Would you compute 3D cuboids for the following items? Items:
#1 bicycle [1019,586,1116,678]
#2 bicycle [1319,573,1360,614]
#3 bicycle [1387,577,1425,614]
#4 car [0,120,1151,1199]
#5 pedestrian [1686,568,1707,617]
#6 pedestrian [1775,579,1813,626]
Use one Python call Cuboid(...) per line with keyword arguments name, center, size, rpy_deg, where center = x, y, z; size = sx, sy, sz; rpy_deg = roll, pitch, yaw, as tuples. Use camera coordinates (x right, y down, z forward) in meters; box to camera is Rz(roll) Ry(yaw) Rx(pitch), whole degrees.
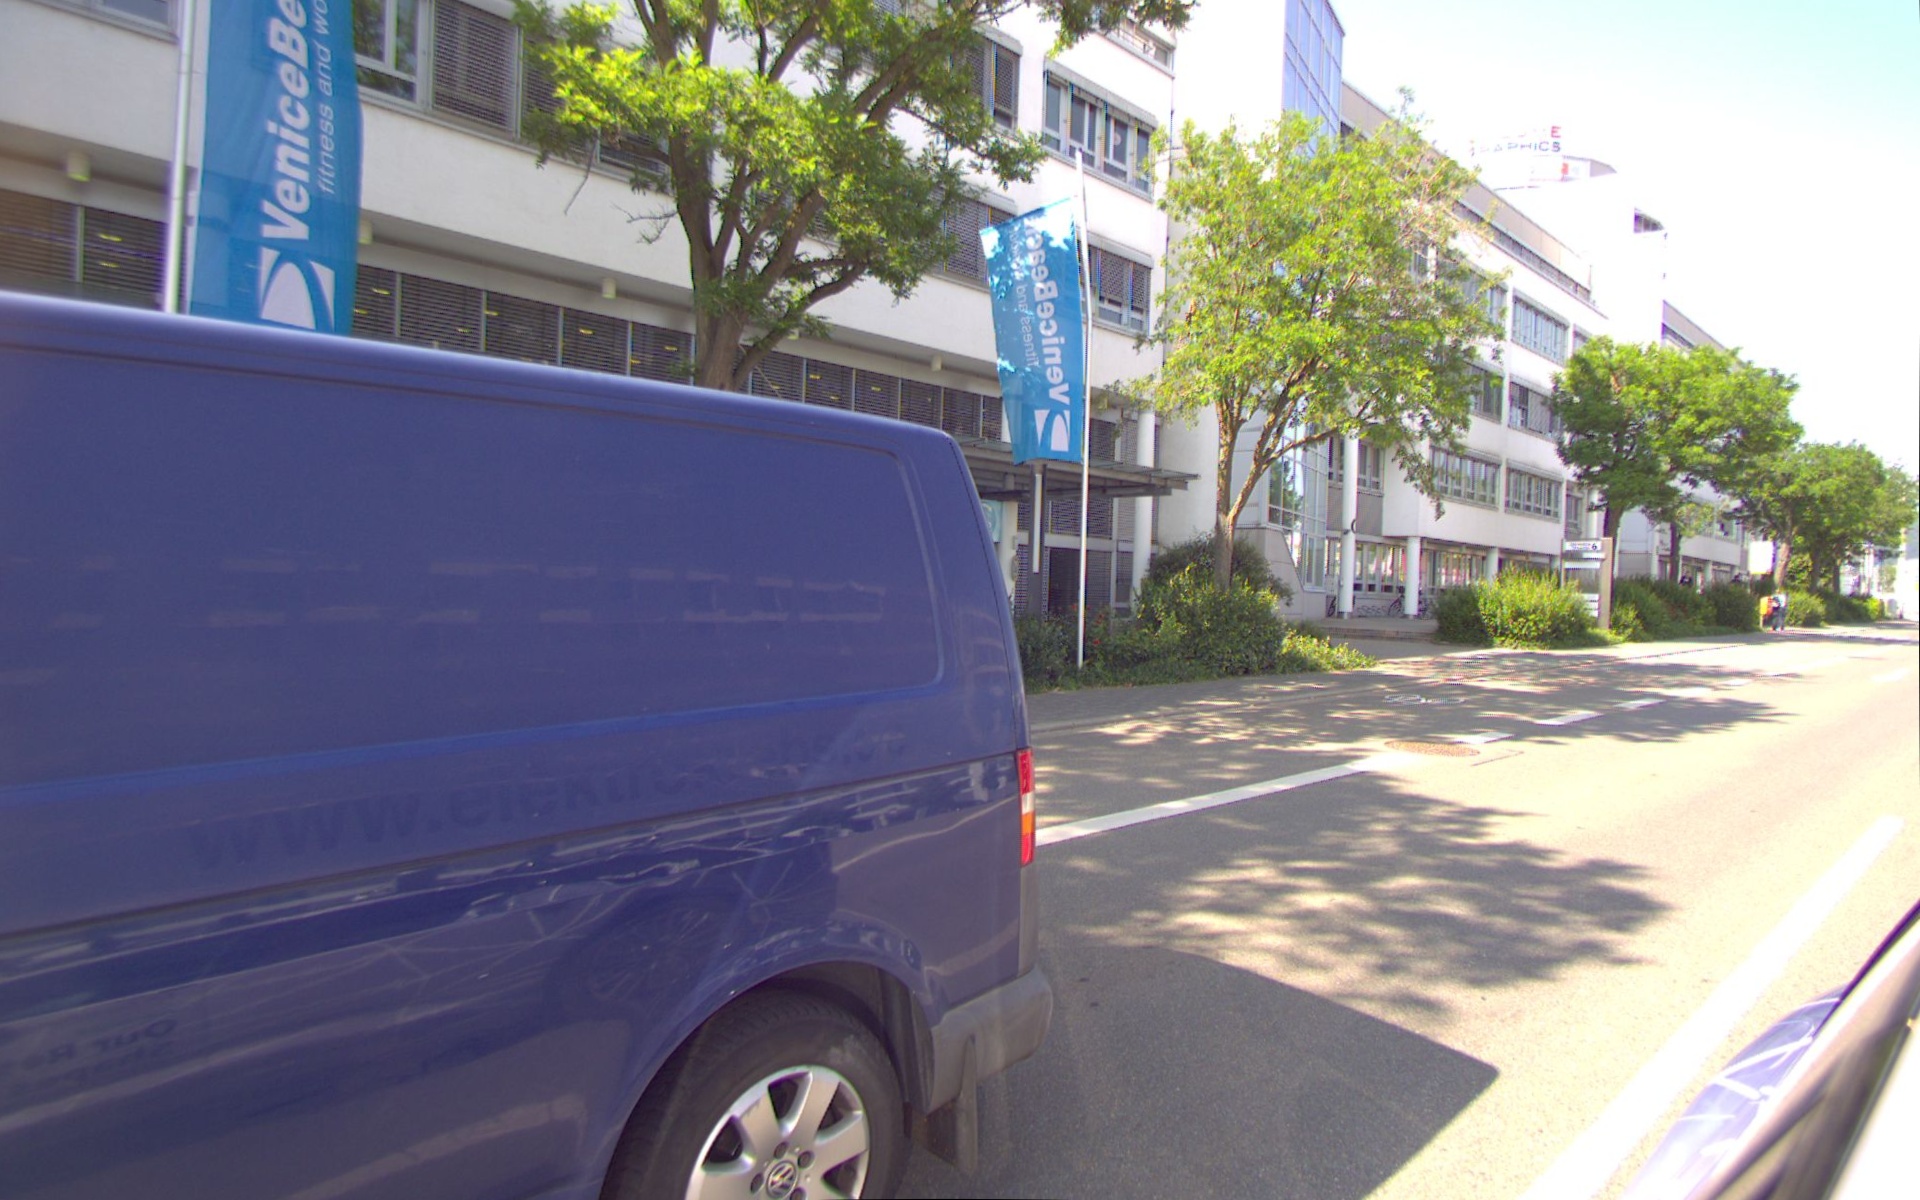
Cuboid(name="bicycle", center=(1.695, 0.472, 15.726), size=(0.504, 1.346, 1.856), rpy_deg=(2, 1, 41))
Cuboid(name="bicycle", center=(13.133, -0.237, 34.981), size=(1.851, 1.371, 0.506), rpy_deg=(0, 1, -41))
Cuboid(name="bicycle", center=(16.579, -0.172, 37.597), size=(1.851, 1.371, 0.506), rpy_deg=(0, 1, -41))
Cuboid(name="car", center=(-1.986, 0.410, 1.739), size=(4.806, 1.972, 1.997), rpy_deg=(-1, 2, -41))
Cuboid(name="pedestrian", center=(38.956, -0.400, 53.552), size=(0.704, 2.581, 0.716), rpy_deg=(0, 1, -42))
Cuboid(name="pedestrian", center=(35.428, 0.089, 43.007), size=(1.266, 1.909, 0.942), rpy_deg=(0, 4, -41))
